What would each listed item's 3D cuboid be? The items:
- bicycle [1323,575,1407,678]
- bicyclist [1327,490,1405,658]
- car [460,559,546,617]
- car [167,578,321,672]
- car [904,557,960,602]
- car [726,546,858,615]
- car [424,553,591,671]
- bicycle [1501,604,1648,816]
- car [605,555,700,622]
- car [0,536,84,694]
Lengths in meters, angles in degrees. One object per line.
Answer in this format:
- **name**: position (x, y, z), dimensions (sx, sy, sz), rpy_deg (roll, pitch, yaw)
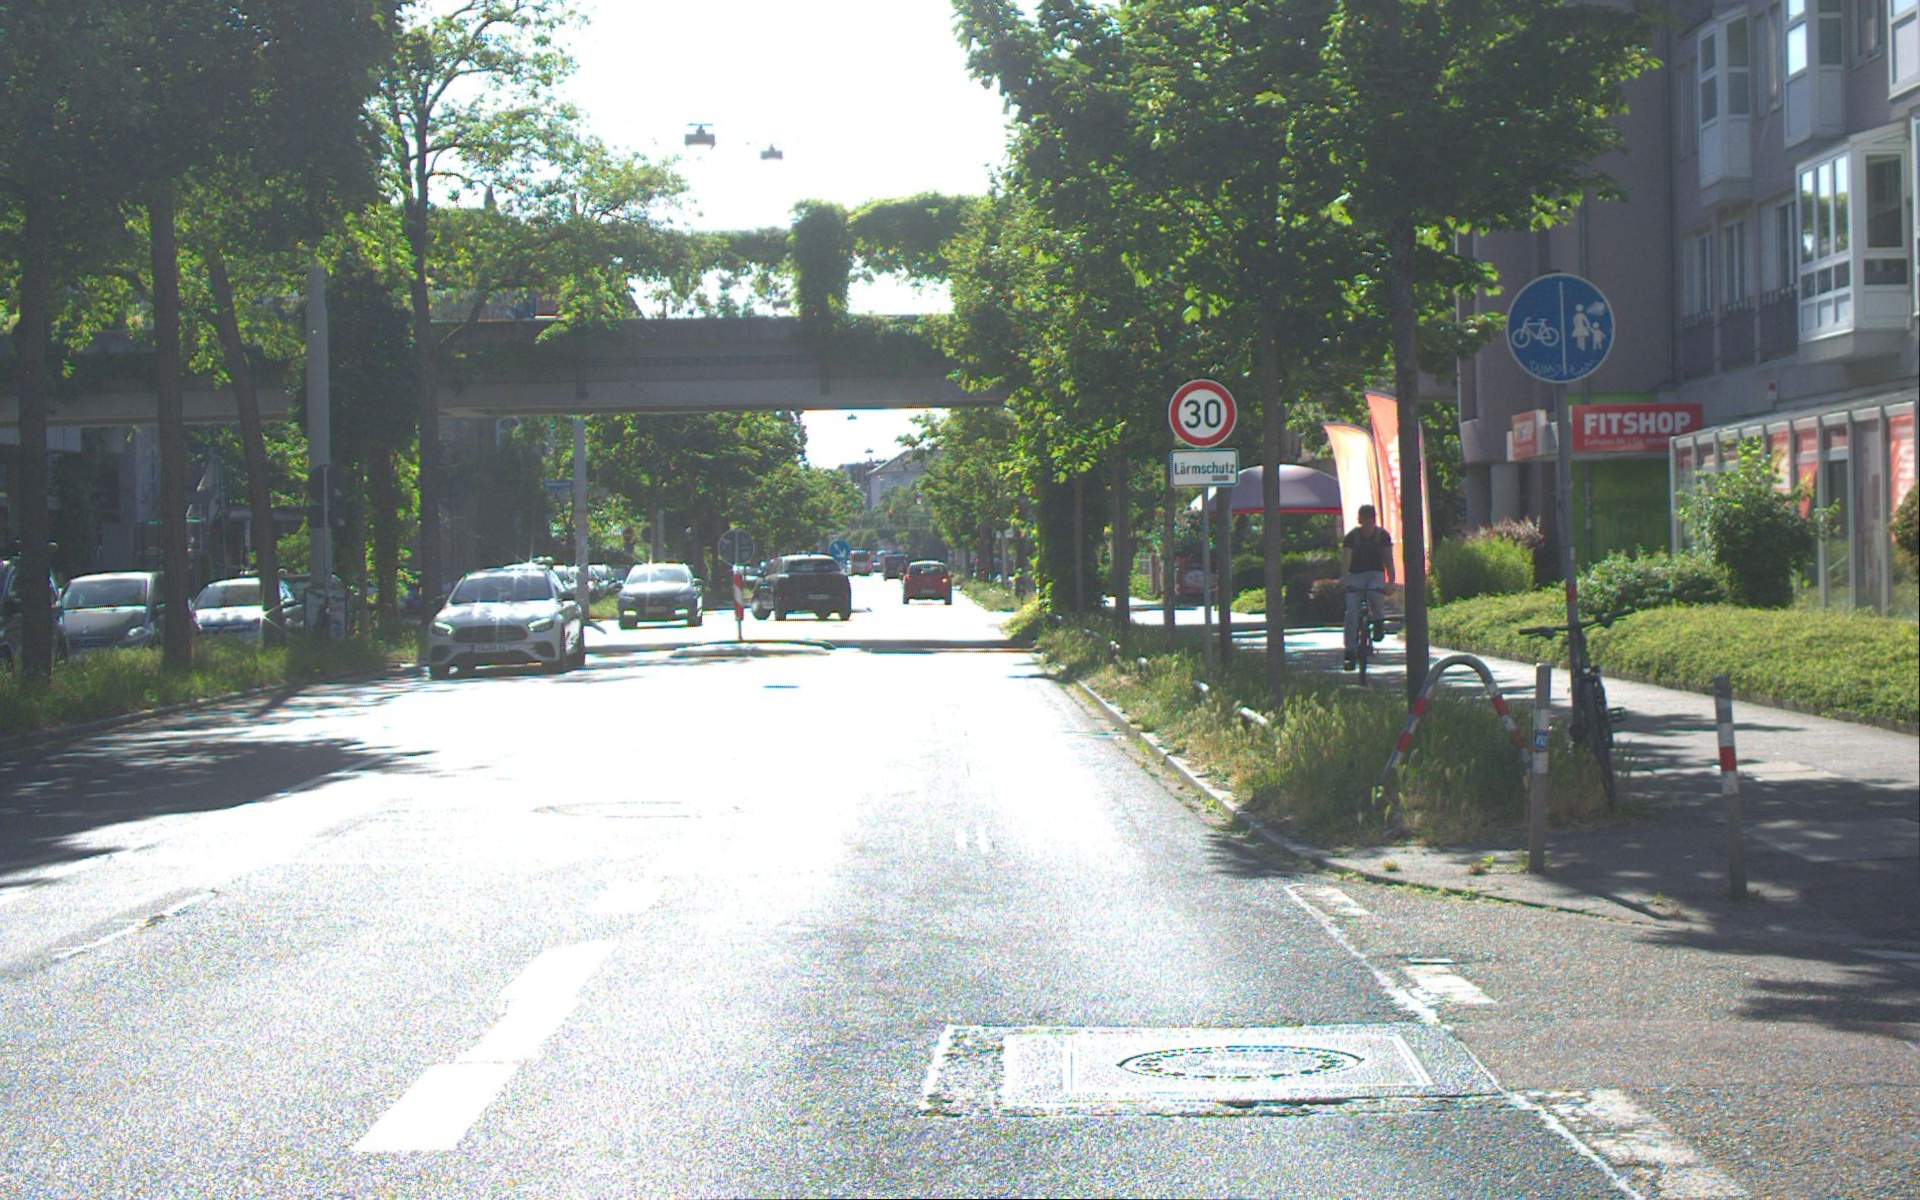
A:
- **bicycle**: position (4.131, 0.267, 35.144), dimensions (0.589, 1.024, 1.860), rpy_deg (0, 0, -2)
- **bicyclist**: position (4.147, -0.266, 35.122), dimensions (0.667, 1.689, 0.889), rpy_deg (0, 0, -1)
- **car**: position (-12.284, -0.339, 92.591), dimensions (1.855, 1.518, 4.077), rpy_deg (0, 1, -2)
- **car**: position (-12.330, 0.403, 59.414), dimensions (1.855, 1.518, 4.319), rpy_deg (0, 1, -2)
- **car**: position (-0.970, -0.720, 120.261), dimensions (1.856, 1.518, 4.318), rpy_deg (0, 1, 1)
- **car**: position (-4.018, -0.474, 81.601), dimensions (1.984, 1.595, 4.141), rpy_deg (0, 1, -20)
- **car**: position (-6.470, 0.139, 49.596), dimensions (1.855, 1.563, 4.716), rpy_deg (-2, 1, -1)
- **bicycle**: position (3.369, 0.566, 18.736), dimensions (0.591, 1.062, 2.021), rpy_deg (0, 1, 16)
- **car**: position (-7.024, -0.288, 78.839), dimensions (1.855, 1.435, 4.319), rpy_deg (-2, 1, -2)
- **car**: position (-12.131, 0.143, 41.900), dimensions (1.855, 1.843, 4.562), rpy_deg (0, 1, -2)
